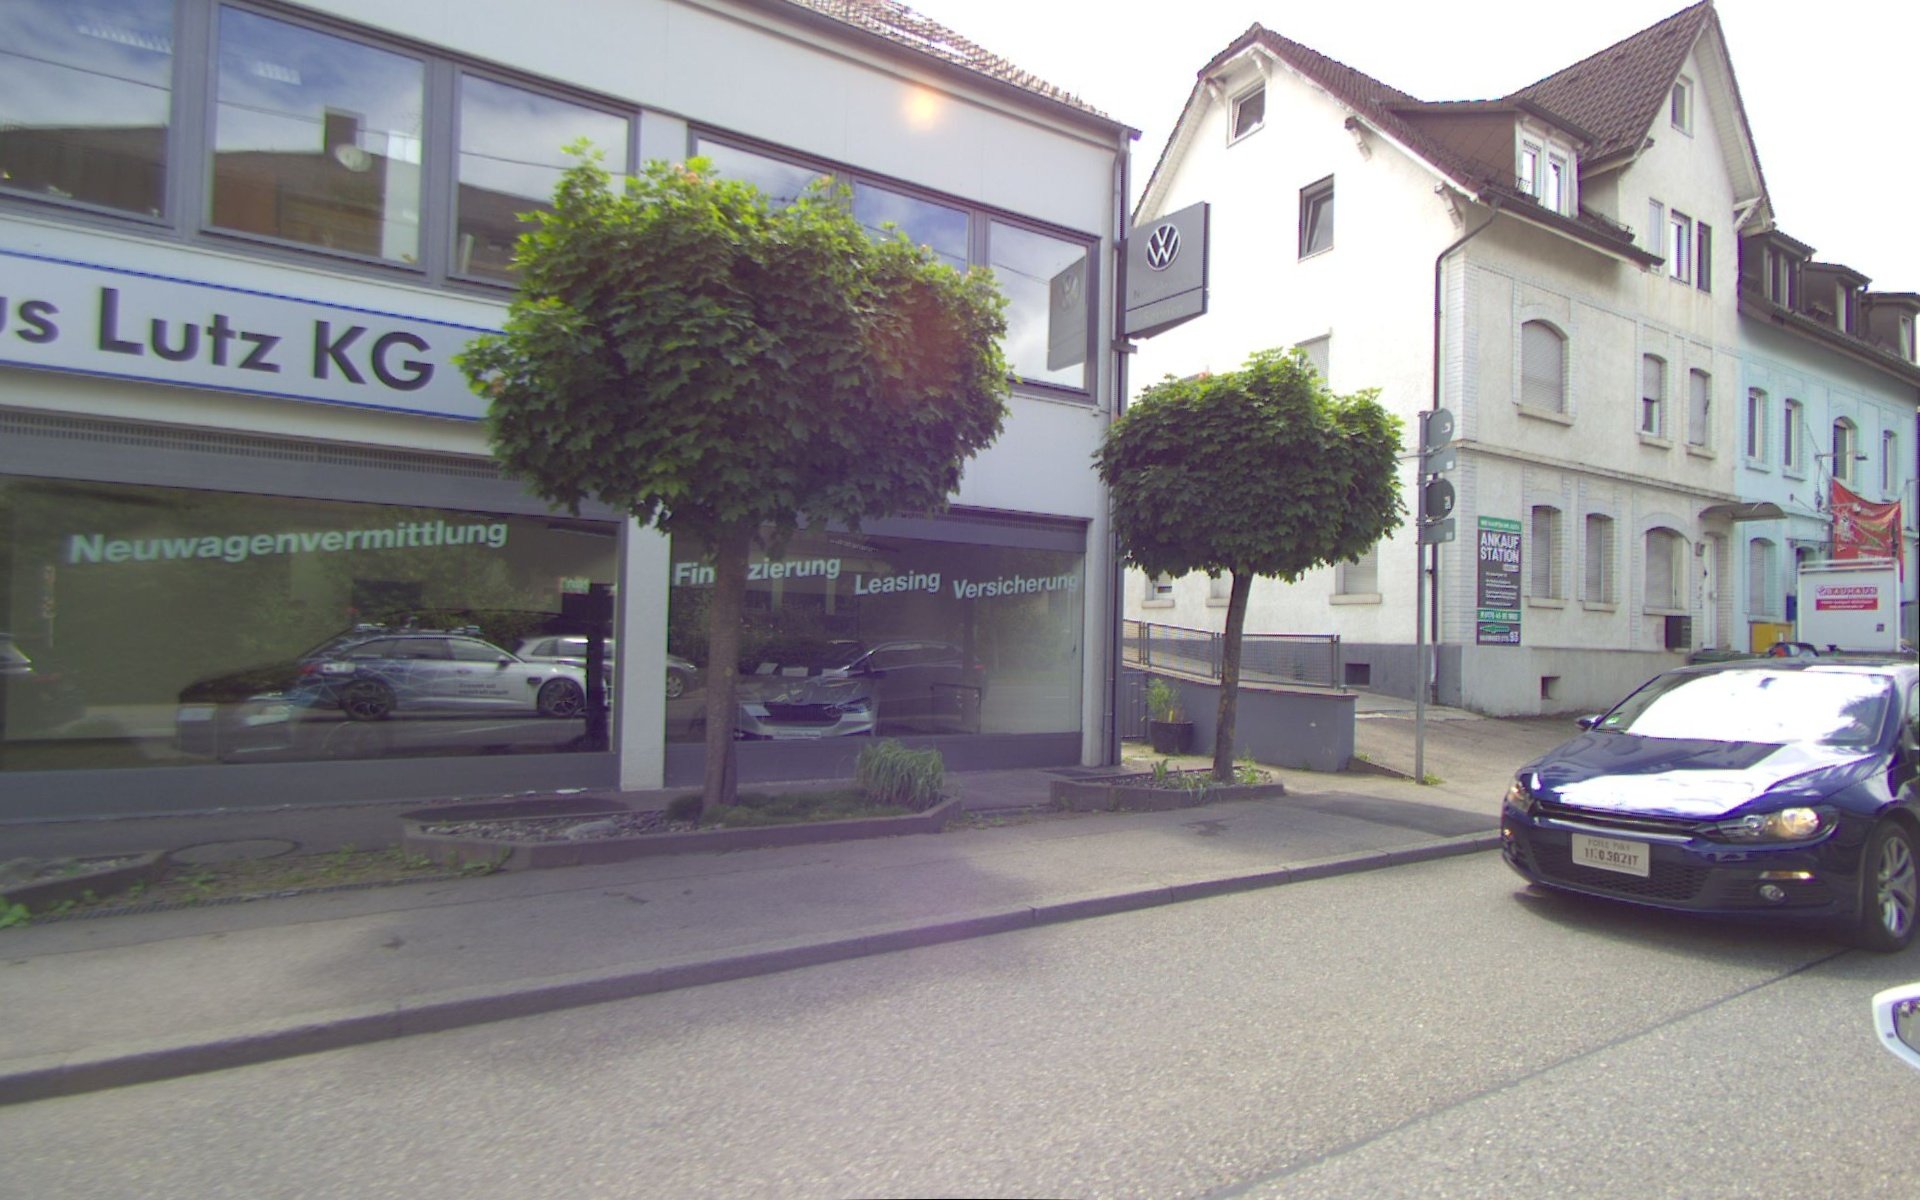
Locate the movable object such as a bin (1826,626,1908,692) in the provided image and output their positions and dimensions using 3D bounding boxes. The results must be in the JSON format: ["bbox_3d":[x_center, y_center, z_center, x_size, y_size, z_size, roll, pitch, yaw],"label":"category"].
[{"bbox_3d":[19.714,1.276,21.837,1.233,1.373,1.014,2,-1,-32],"label":"movable object such as a bin"}]

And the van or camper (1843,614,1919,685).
[{"bbox_3d":[29.066,1.512,29.640,4.291,2.019,1.792,1,-2,5],"label":"van or camper"}]

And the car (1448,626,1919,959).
[{"bbox_3d":[5.087,0.937,6.176,4.060,1.444,1.763,2,-4,-30],"label":"car"}]

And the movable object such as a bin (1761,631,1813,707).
[{"bbox_3d":[14.608,1.204,17.746,0.557,1.290,0.561,1,0,-34],"label":"movable object such as a bin"}]

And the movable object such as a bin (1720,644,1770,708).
[{"bbox_3d":[14.246,1.366,18.231,0.557,1.115,0.561,2,-1,-34],"label":"movable object such as a bin"}]

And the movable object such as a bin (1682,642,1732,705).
[{"bbox_3d":[13.913,1.358,18.712,0.557,1.115,0.561,2,0,-34],"label":"movable object such as a bin"}]

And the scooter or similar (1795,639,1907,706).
[{"bbox_3d":[17.404,1.394,19.657,0.539,1.199,1.546,2,-1,-29],"label":"scooter or similar"}]
